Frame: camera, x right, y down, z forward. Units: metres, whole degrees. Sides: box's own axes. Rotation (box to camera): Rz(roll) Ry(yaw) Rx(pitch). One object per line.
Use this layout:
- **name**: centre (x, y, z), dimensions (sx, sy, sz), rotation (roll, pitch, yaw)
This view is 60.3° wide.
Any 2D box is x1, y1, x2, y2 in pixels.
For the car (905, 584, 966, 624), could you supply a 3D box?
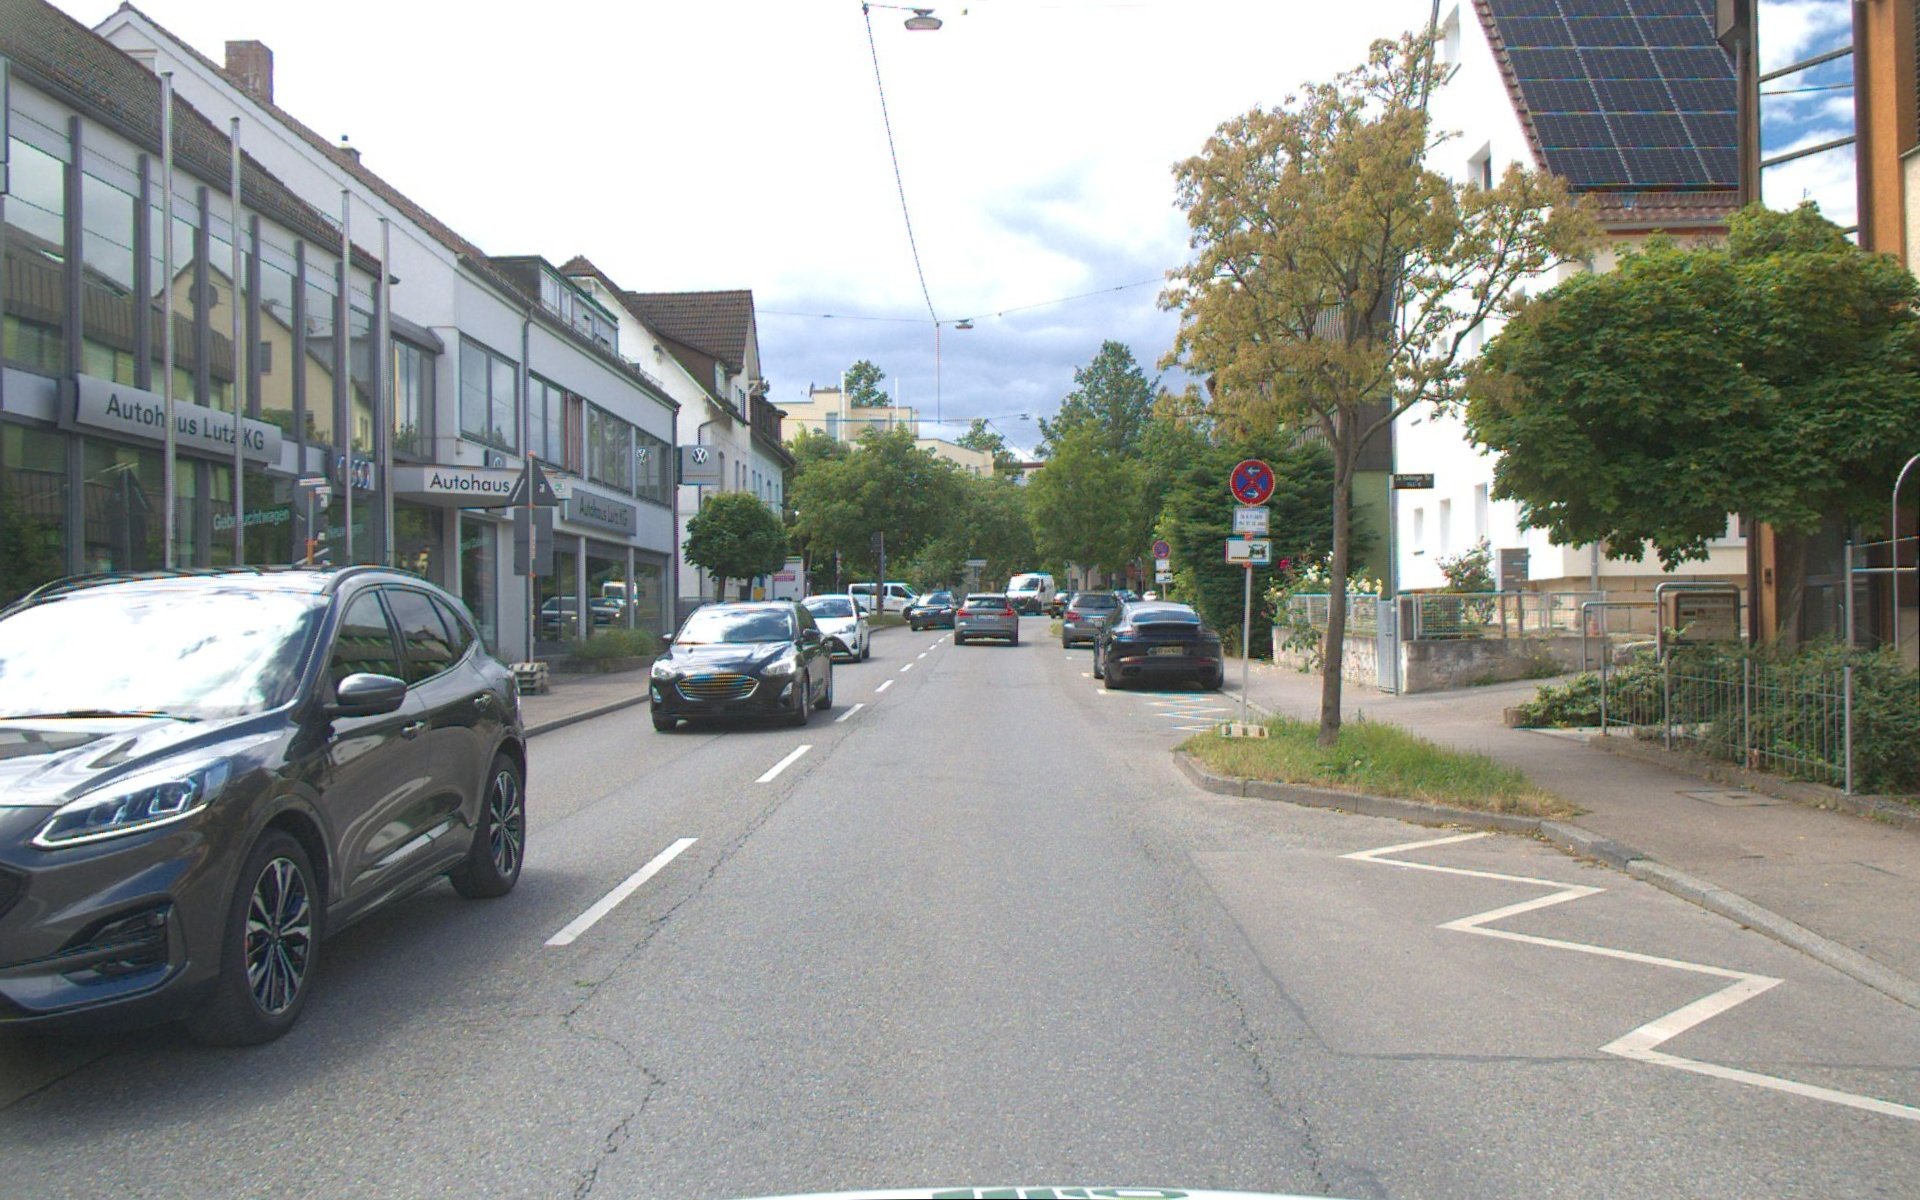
- **car**: centre (-0.966, 0.157, 67.487), dimensions (1.738, 1.550, 4.466), rotation (-2, 0, 8)

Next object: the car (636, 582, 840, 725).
- **car**: centre (-2.582, 0.611, 20.200), dimensions (1.793, 1.550, 4.171), rotation (-1, -1, 2)

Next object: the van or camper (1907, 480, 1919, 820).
- **van or camper**: centre (6.734, 0.283, 7.920), dimensions (1.828, 2.067, 4.547), rotation (1, -1, 0)

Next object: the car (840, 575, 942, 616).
- **car**: centre (-3.771, -0.253, 90.740), dimensions (5.103, 2.028, 2.109), rotation (-2, 0, 19)

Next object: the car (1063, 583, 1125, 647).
- **car**: centre (3.815, 0.383, 47.506), dimensions (1.654, 1.695, 4.464), rotation (-1, 1, 3)

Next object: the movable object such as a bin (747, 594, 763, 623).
- **movable object such as a bin**: centre (-8.109, 0.326, 65.286), dimensions (0.553, 1.120, 0.563), rotation (2, -1, -3)

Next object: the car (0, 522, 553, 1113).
- **car**: centre (-3.149, 0.608, 6.818), dimensions (1.793, 1.658, 4.321), rotation (-1, 0, 1)

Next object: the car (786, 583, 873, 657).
- **car**: centre (-2.948, 0.457, 38.068), dimensions (1.655, 1.607, 3.800), rotation (-1, -1, 0)

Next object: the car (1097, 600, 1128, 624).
- **car**: centre (10.624, 0.814, 115.063), dimensions (1.651, 1.508, 4.230), rotation (-4, -1, 11)

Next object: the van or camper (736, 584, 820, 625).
- **van or camper**: centre (-9.216, 0.269, 84.144), dimensions (1.755, 2.028, 4.361), rotation (-1, -1, 37)

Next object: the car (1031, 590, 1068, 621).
- **car**: centre (4.541, 0.306, 84.089), dimensions (1.582, 1.550, 3.568), rotation (-1, -1, -1)

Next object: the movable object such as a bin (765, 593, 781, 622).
- **movable object such as a bin**: centre (-7.393, 0.313, 65.360), dimensions (0.553, 1.120, 0.563), rotation (2, -1, -3)

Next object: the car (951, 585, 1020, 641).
- **car**: centre (0.731, 0.394, 48.323), dimensions (1.916, 1.550, 4.329), rotation (0, -1, 1)

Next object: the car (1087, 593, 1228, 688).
- **car**: centre (3.272, 0.659, 28.265), dimensions (1.943, 1.473, 4.752), rotation (-1, -1, 1)

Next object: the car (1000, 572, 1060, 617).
- **car**: centre (4.055, -0.355, 94.761), dimensions (2.020, 2.394, 5.185), rotation (-3, 0, 18)
